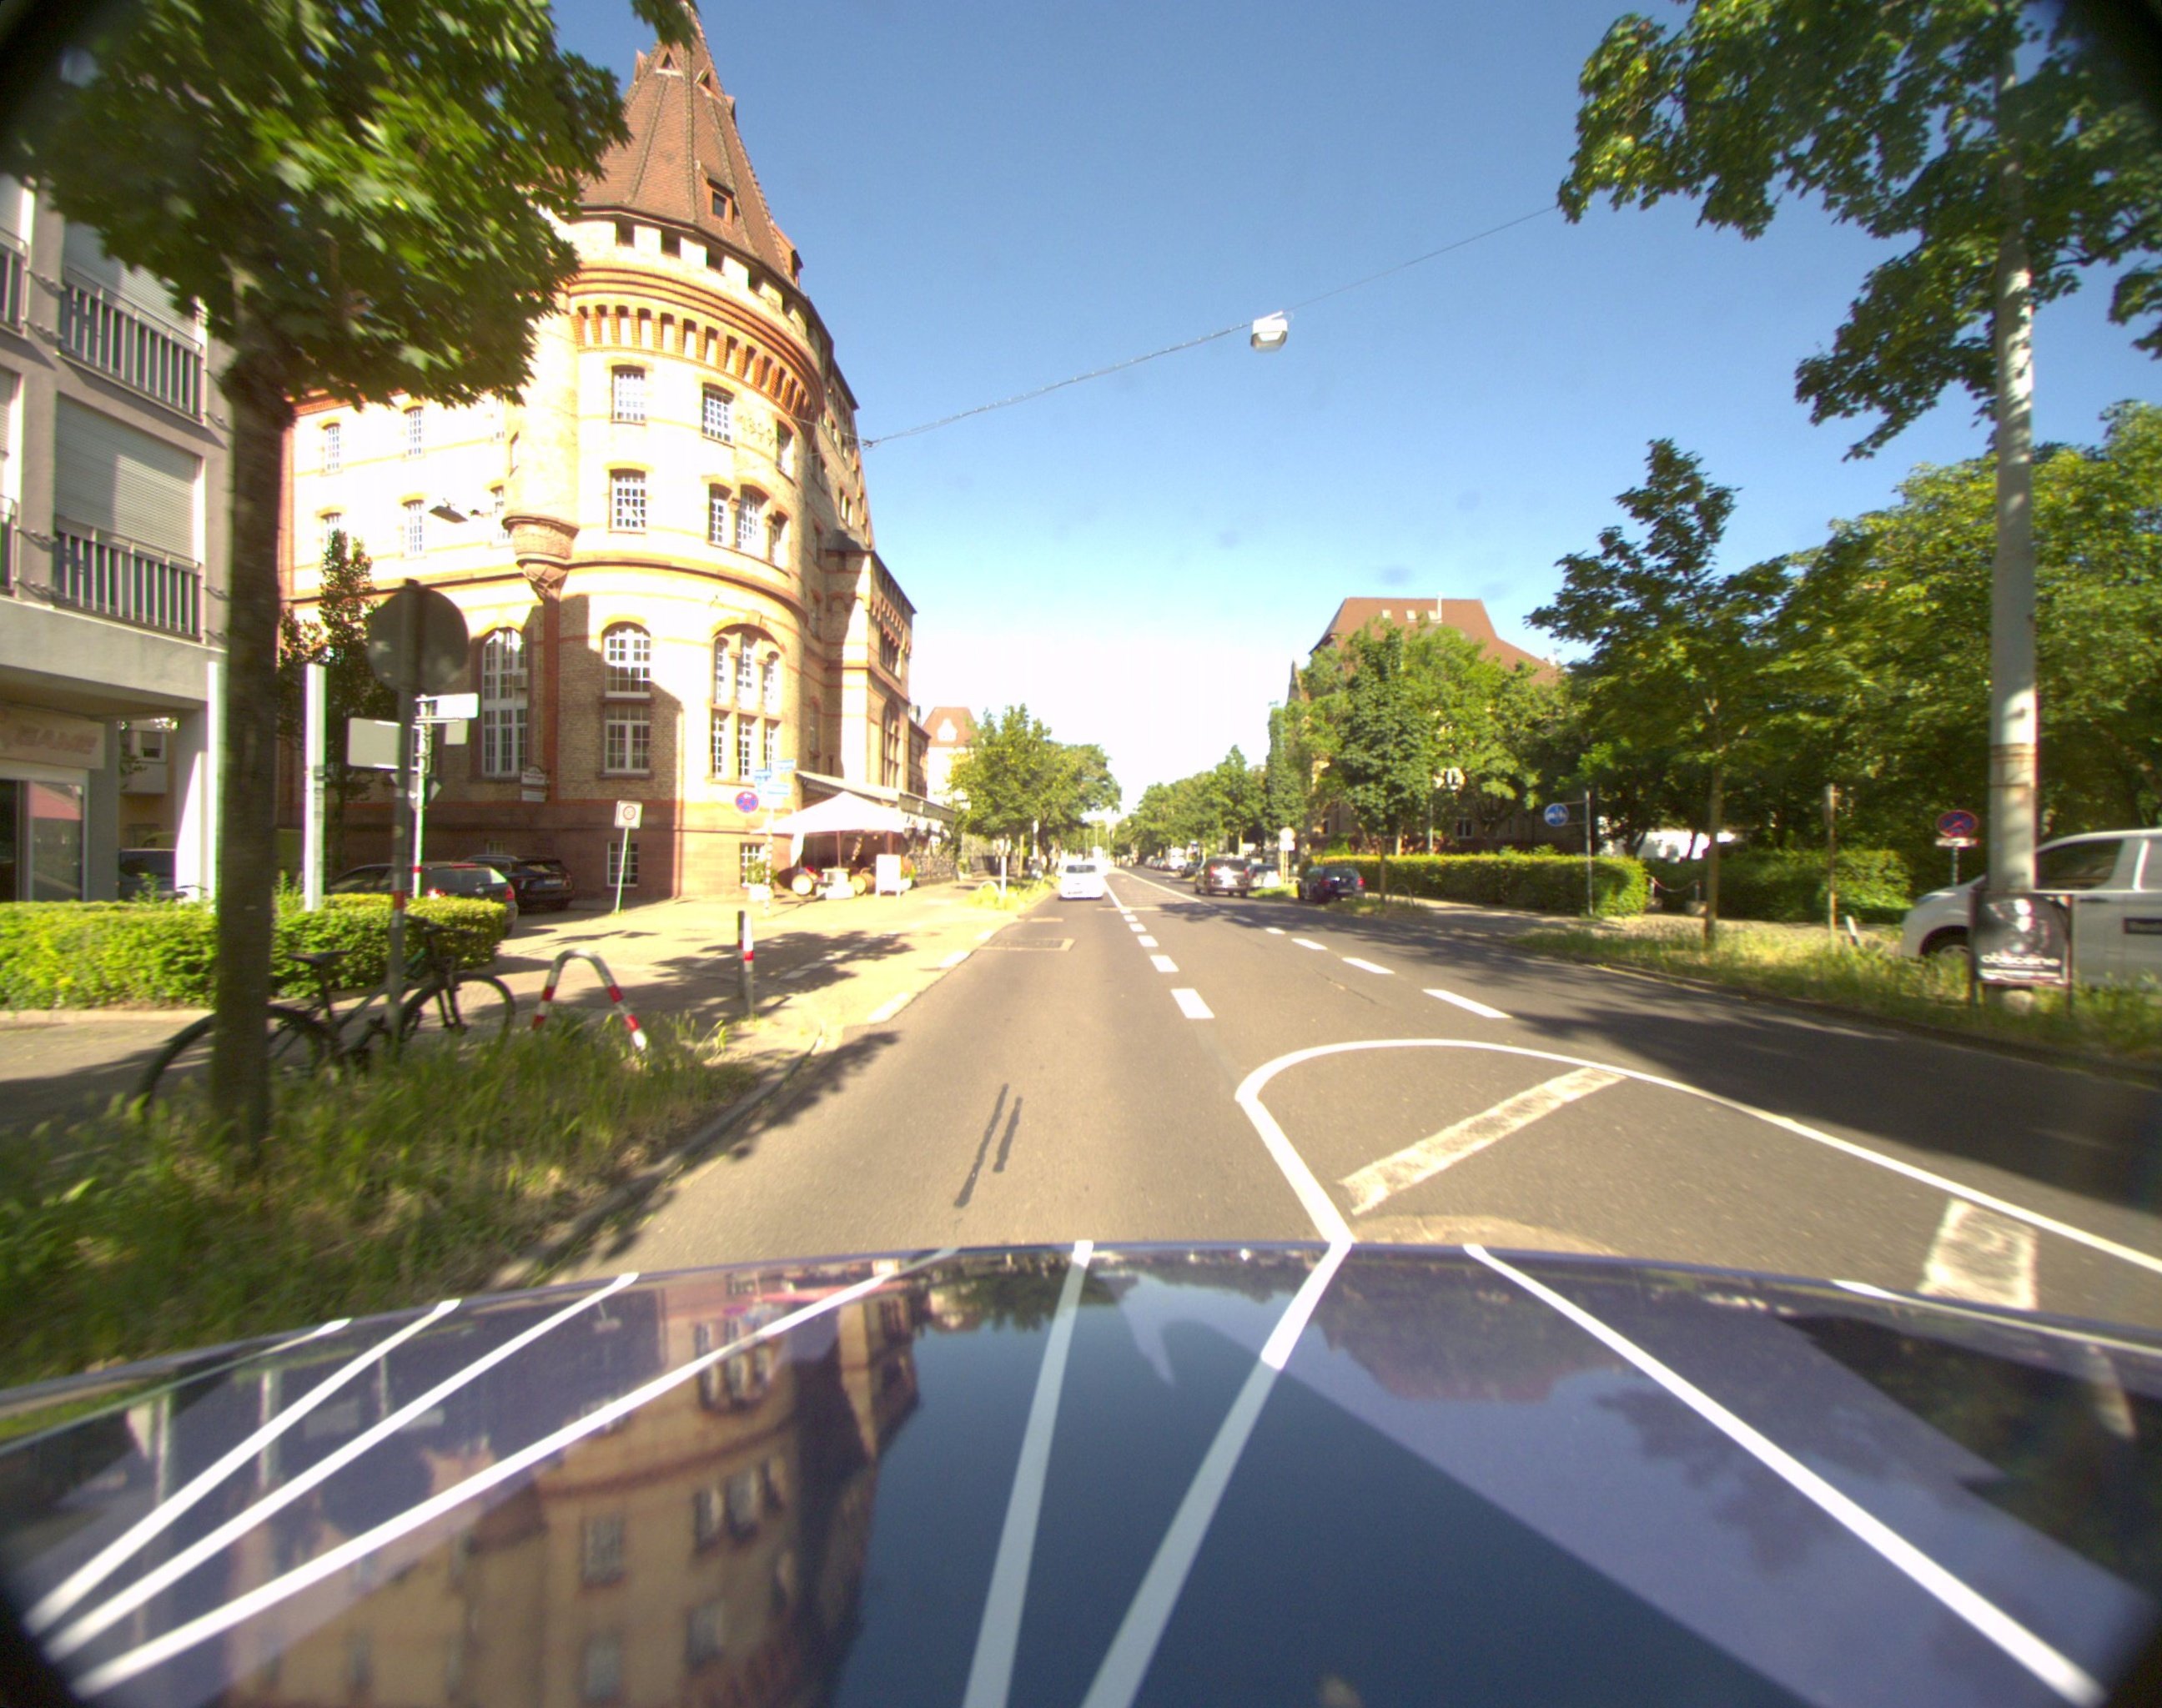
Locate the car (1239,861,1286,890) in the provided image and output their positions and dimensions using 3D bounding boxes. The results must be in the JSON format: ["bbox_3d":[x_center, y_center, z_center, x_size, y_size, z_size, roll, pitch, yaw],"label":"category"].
[{"bbox_3d":[9.522,1.075,40.155,1.692,1.375,4.192,-2,0,3],"label":"car"}]

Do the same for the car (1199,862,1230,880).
[{"bbox_3d":[9.806,1.205,56.072,1.682,1.248,4.015,0,0,1],"label":"car"}]

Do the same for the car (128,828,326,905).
[{"bbox_3d":[-27.000,0.391,24.070,4.798,2.289,2.139,-1,0,14],"label":"car"}]

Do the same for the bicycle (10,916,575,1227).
[{"bbox_3d":[-3.851,0.938,4.026,0.591,1.059,2.025,0,0,17],"label":"bicycle"}]

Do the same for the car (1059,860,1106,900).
[{"bbox_3d":[0.118,0.992,30.142,1.652,1.449,3.898,1,0,3],"label":"car"}]

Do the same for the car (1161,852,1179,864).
[{"bbox_3d":[11.215,0.527,96.216,1.698,1.448,4.663,2,0,-1],"label":"car"}]

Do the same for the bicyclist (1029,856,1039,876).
[{"bbox_3d":[-3.811,0.940,61.748,0.702,1.590,0.955,0,1,0],"label":"bicyclist"}]

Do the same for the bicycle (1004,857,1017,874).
[{"bbox_3d":[-5.275,0.861,56.890,0.654,1.169,1.843,4,0,2],"label":"bicycle"}]

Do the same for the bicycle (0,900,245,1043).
[{"bbox_3d":[-8.383,0.931,6.280,2.201,1.021,0.688,2,-2,2],"label":"bicycle"}]

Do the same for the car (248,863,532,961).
[{"bbox_3d":[-12.430,0.979,13.757,3.949,1.514,1.863,-1,2,14],"label":"car"}]

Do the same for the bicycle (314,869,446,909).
[{"bbox_3d":[-21.237,1.037,23.124,1.057,1.021,2.774,-1,1,15],"label":"bicycle"}]

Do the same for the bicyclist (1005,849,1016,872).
[{"bbox_3d":[-5.257,0.515,56.805,0.647,1.685,0.889,4,0,2],"label":"bicyclist"}]

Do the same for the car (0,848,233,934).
[{"bbox_3d":[-20.821,0.757,16.322,3.949,1.696,1.797,-1,0,14],"label":"car"}]

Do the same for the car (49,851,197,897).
[{"bbox_3d":[-32.954,0.677,26.161,3.890,1.449,1.656,-2,0,14],"label":"car"}]

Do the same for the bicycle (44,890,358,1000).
[{"bbox_3d":[-9.563,0.930,8.446,0.686,1.021,2.205,2,-2,9],"label":"bicycle"}]

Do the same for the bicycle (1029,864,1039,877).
[{"bbox_3d":[-3.810,1.322,61.800,0.687,1.021,2.095,0,1,0],"label":"bicycle"}]

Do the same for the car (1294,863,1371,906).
[{"bbox_3d":[9.514,1.109,29.007,1.716,1.450,4.072,0,0,2],"label":"car"}]

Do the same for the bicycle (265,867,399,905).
[{"bbox_3d":[-23.271,0.981,23.716,1.057,1.021,2.774,-1,1,15],"label":"bicycle"}]

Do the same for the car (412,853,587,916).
[{"bbox_3d":[-15.962,0.788,20.910,3.948,1.515,1.797,1,3,17],"label":"car"}]

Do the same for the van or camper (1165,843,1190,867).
[{"bbox_3d":[11.434,0.099,90.680,2.222,2.723,6.088,0,0,1],"label":"van or camper"}]

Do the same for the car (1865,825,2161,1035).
[{"bbox_3d":[11.666,0.787,7.656,1.986,2.064,5.195,2,0,-2],"label":"car"}]

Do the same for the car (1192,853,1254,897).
[{"bbox_3d":[6.340,0.895,34.397,1.860,1.814,4.610,2,0,0],"label":"car"}]

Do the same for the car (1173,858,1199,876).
[{"bbox_3d":[9.593,1.154,69.703,1.860,1.419,4.720,-3,0,1],"label":"car"}]

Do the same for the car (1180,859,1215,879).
[{"bbox_3d":[9.687,1.254,63.675,1.861,1.485,4.704,-3,0,-4],"label":"car"}]
